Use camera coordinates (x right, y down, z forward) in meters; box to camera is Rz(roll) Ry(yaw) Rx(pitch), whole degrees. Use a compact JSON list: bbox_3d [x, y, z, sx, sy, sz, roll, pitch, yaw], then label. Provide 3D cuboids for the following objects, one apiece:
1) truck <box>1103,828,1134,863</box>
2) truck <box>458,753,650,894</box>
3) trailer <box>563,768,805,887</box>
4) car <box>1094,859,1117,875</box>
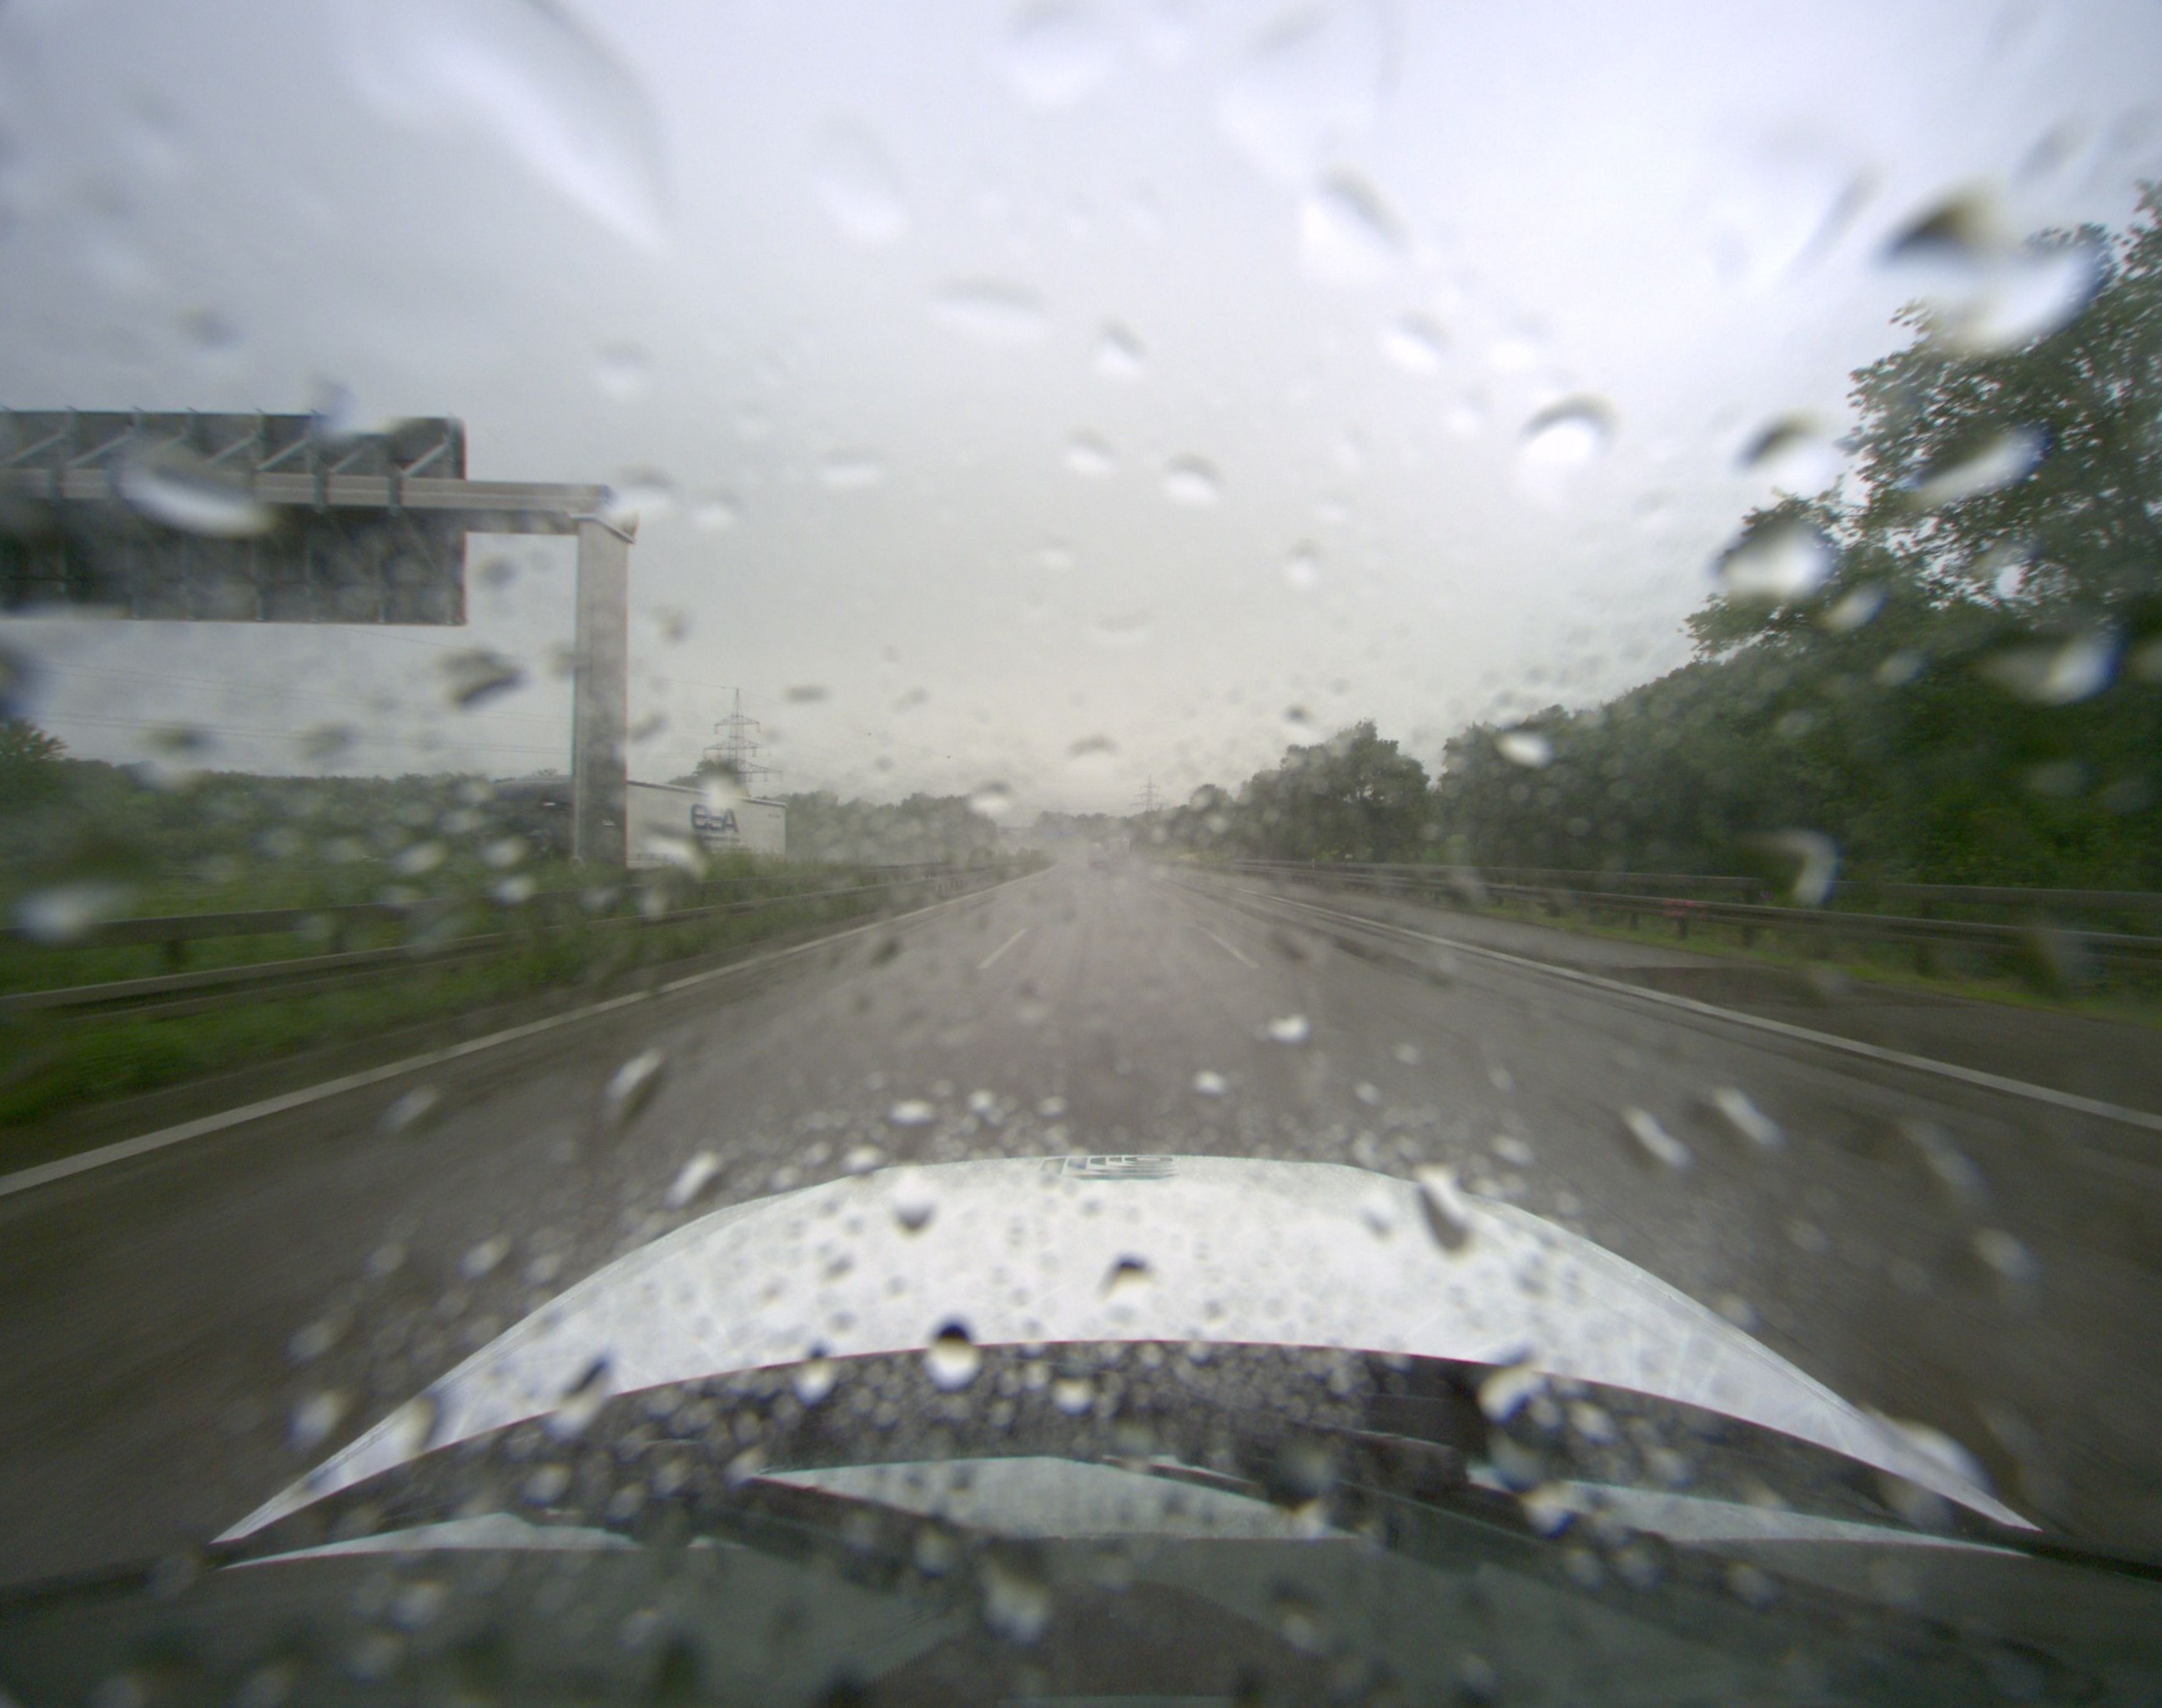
[{"bbox_3d":[5.836,-1.306,124.689,4.238,4.972,17.357,-1,1,3],"label":"truck"},{"bbox_3d":[-15.518,-0.836,24.422,2.347,3.708,4.740,3,0,2],"label":"truck"},{"bbox_3d":[-15.141,-0.905,33.184,2.323,3.721,13.937,3,0,2],"label":"trailer"},{"bbox_3d":[2.106,1.066,68.781,1.741,1.212,4.005,2,0,4],"label":"car"}]
